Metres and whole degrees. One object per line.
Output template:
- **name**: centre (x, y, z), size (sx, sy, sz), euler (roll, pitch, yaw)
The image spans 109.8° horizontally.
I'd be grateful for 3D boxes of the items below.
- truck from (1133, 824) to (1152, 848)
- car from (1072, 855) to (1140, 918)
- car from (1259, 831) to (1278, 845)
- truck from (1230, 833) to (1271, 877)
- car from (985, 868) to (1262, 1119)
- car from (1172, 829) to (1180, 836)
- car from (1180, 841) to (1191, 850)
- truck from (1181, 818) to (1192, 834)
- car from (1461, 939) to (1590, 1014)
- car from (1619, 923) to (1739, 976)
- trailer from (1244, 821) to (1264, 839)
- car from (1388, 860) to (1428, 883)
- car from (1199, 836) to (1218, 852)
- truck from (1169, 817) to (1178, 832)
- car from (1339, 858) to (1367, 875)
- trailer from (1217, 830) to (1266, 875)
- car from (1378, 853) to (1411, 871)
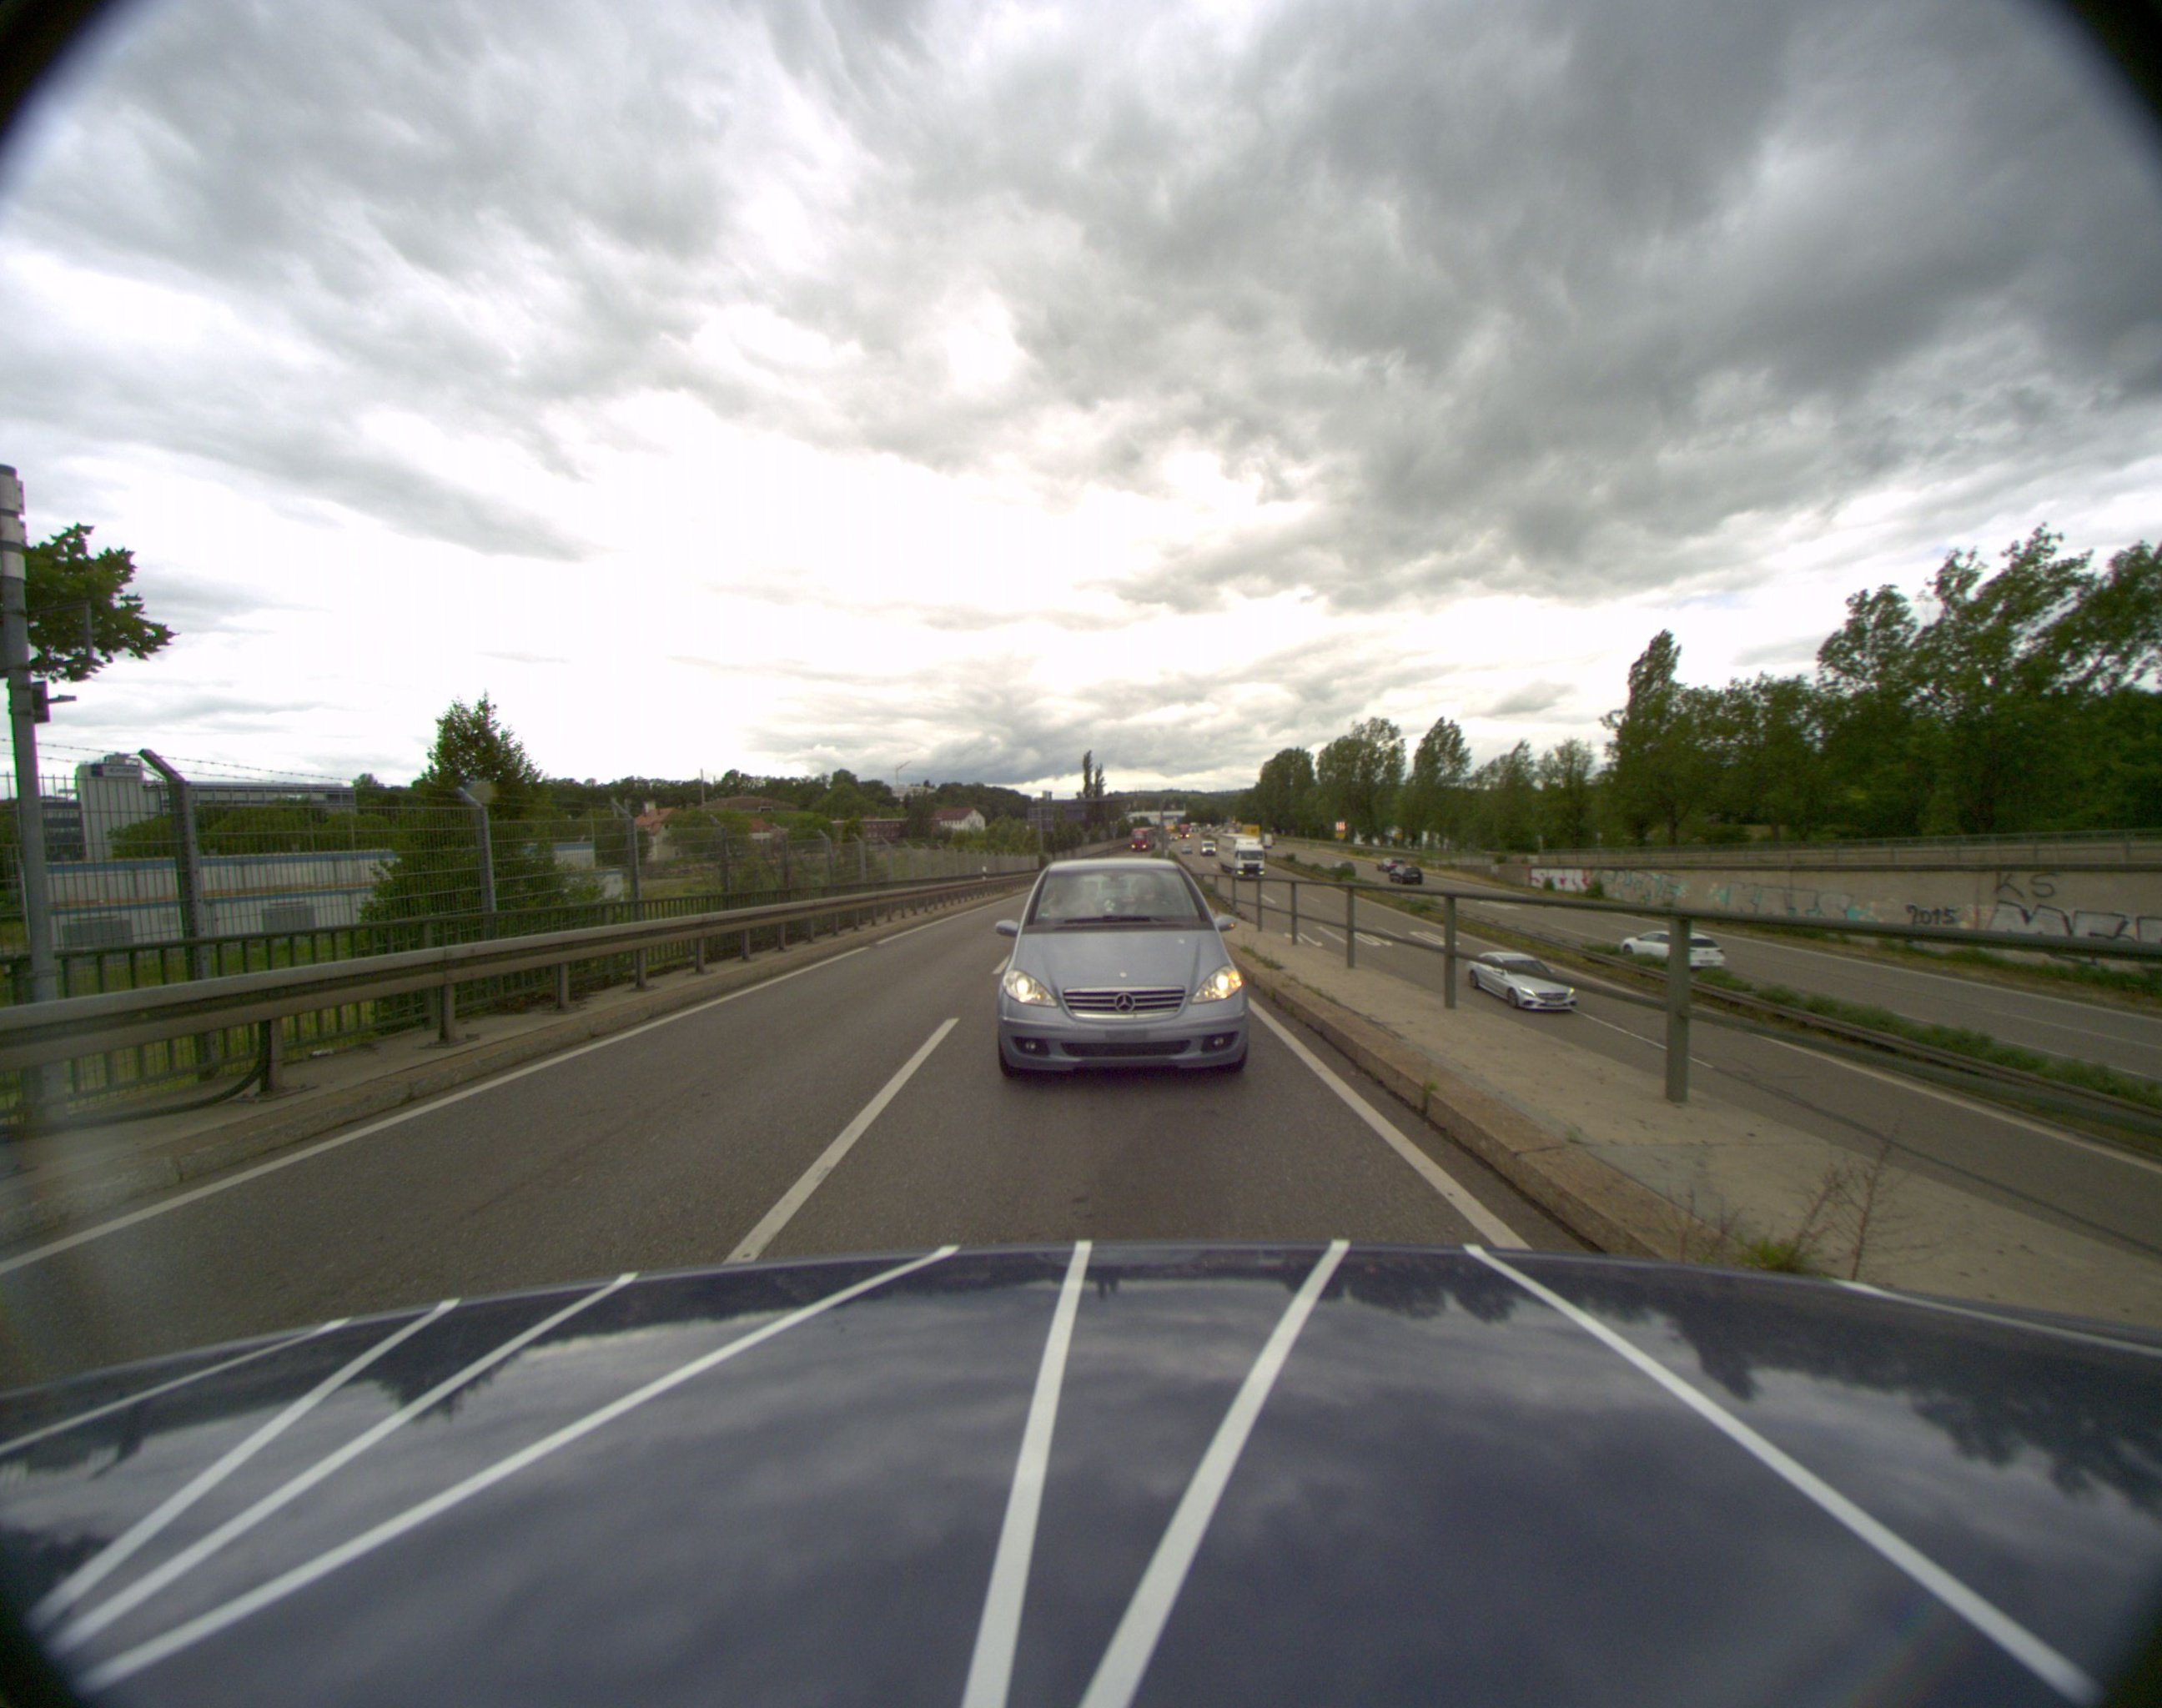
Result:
- **truck**: centre (11.054, -3.293, 136.321), size (3.101, 3.990, 8.487), euler (-1, 4, 5)
- **car**: centre (0.721, 0.931, 23.162), size (1.830, 1.701, 4.001), euler (-2, -1, 1)
- **car**: centre (35.325, -3.059, 143.440), size (2.172, 2.580, 6.099), euler (-1, 3, 1)
- **truck**: centre (16.584, 0.011, 74.754), size (3.010, 4.087, 5.872), euler (0, 3, 3)
- **car**: centre (0.303, 0.924, 6.812), size (1.743, 1.534, 3.993), euler (-1, 0, 1)
- **car**: centre (24.604, -5.548, 196.309), size (1.810, 1.658, 3.999), euler (-1, 3, 4)
- **car**: centre (17.062, -1.410, 124.381), size (1.512, 1.365, 3.536), euler (0, 3, 3)
- **truck**: centre (32.162, -8.662, 232.041), size (2.754, 4.712, 9.916), euler (1, 3, 4)
- **car**: centre (14.887, 4.050, 25.782), size (1.854, 1.562, 4.436), euler (-1, 4, 2)
- **car**: centre (24.217, 3.825, 30.969), size (1.779, 1.485, 3.895), euler (1, 3, 1)
- **trailer**: centre (43.855, -6.190, 193.185), size (3.247, 4.239, 13.678), euler (0, 3, 5)
- **car**: centre (29.131, 1.542, 67.843), size (1.886, 1.709, 4.181), euler (0, 3, 3)
- **car**: centre (19.767, -1.583, 117.784), size (2.104, 2.231, 6.498), euler (0, 3, 3)
- **truck**: centre (26.937, -8.576, 221.481), size (2.415, 4.100, 8.169), euler (0, 3, 4)
- **car**: centre (27.426, 1.227, 76.769), size (1.718, 1.446, 3.650), euler (-1, 3, 4)
- **trailer**: centre (16.978, -0.359, 81.503), size (3.010, 4.087, 13.984), euler (0, 3, 3)
- **car**: centre (33.271, 0.796, 80.756), size (1.864, 1.643, 4.632), euler (0, 3, 4)
